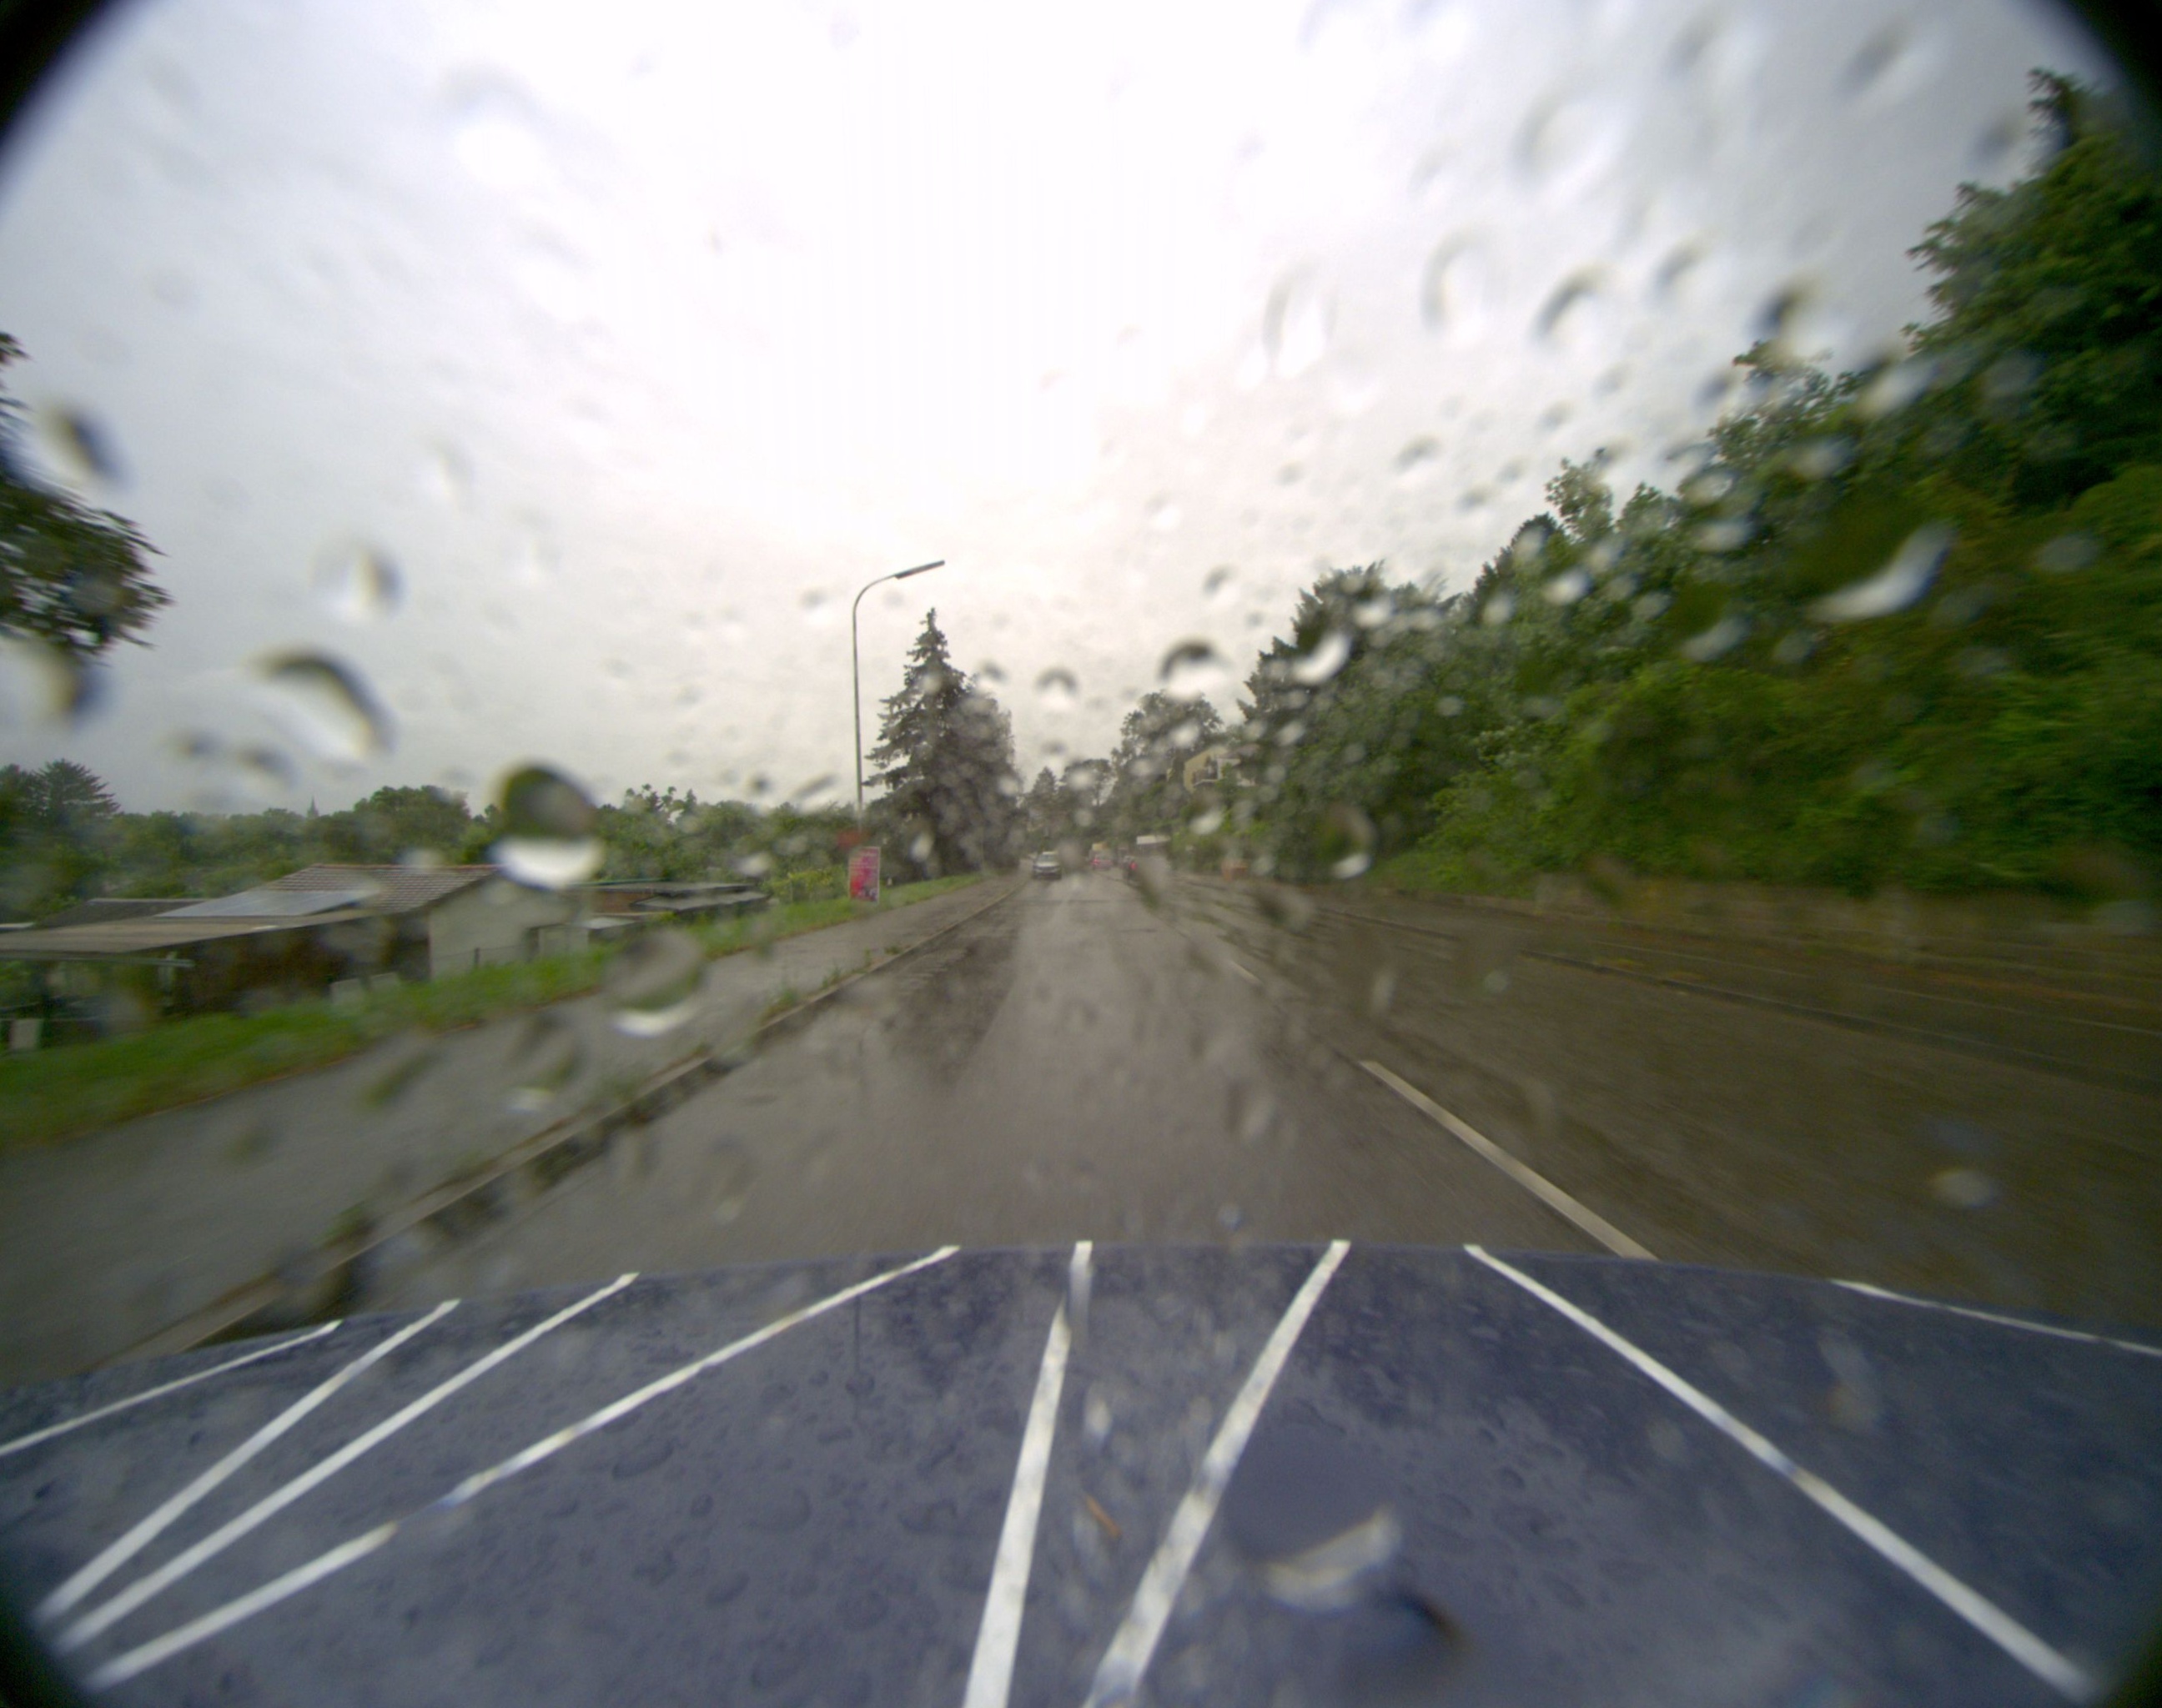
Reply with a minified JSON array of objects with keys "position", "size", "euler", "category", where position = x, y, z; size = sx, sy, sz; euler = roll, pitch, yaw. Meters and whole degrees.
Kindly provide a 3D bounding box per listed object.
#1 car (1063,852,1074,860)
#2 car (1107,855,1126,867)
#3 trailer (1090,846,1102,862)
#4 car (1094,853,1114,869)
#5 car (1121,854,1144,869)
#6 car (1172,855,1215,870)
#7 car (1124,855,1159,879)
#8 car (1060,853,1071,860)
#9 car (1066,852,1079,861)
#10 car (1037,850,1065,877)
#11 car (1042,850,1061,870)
[{"position":[-2.507,0.444,155.995],"size":[1.747,1.552,4.106],"euler":[2,0,-7],"category":"car"},{"position":[4.504,0.861,96.446],"size":[1.761,1.401,3.703],"euler":[3,0,-6],"category":"car"},{"position":[2.250,-0.001,116.539],"size":[1.541,2.385,3.071],"euler":[2,0,-3],"category":"trailer"},{"position":[2.239,0.660,74.429],"size":[1.667,1.452,3.660],"euler":[0,1,-4],"category":"car"},{"position":[5.277,0.736,78.969],"size":[1.761,1.394,3.768],"euler":[2,0,-5],"category":"car"},{"position":[10.473,0.816,70.908],"size":[3.767,1.376,1.866],"euler":[0,0,-1],"category":"car"},{"position":[3.648,0.761,46.459],"size":[1.659,1.344,3.986],"euler":[0,1,-2],"category":"car"},{"position":[-3.284,0.477,160.695],"size":[1.722,1.357,4.079],"euler":[2,-1,-11],"category":"car"},{"position":[-1.736,0.485,150.938],"size":[1.880,1.616,4.590],"euler":[3,-1,-8],"category":"car"},{"position":[-1.999,0.600,51.020],"size":[1.820,1.636,4.394],"euler":[0,1,-2],"category":"car"},{"position":[-2.783,0.555,72.075],"size":[1.789,1.780,4.359],"euler":[0,1,-2],"category":"car"}]
